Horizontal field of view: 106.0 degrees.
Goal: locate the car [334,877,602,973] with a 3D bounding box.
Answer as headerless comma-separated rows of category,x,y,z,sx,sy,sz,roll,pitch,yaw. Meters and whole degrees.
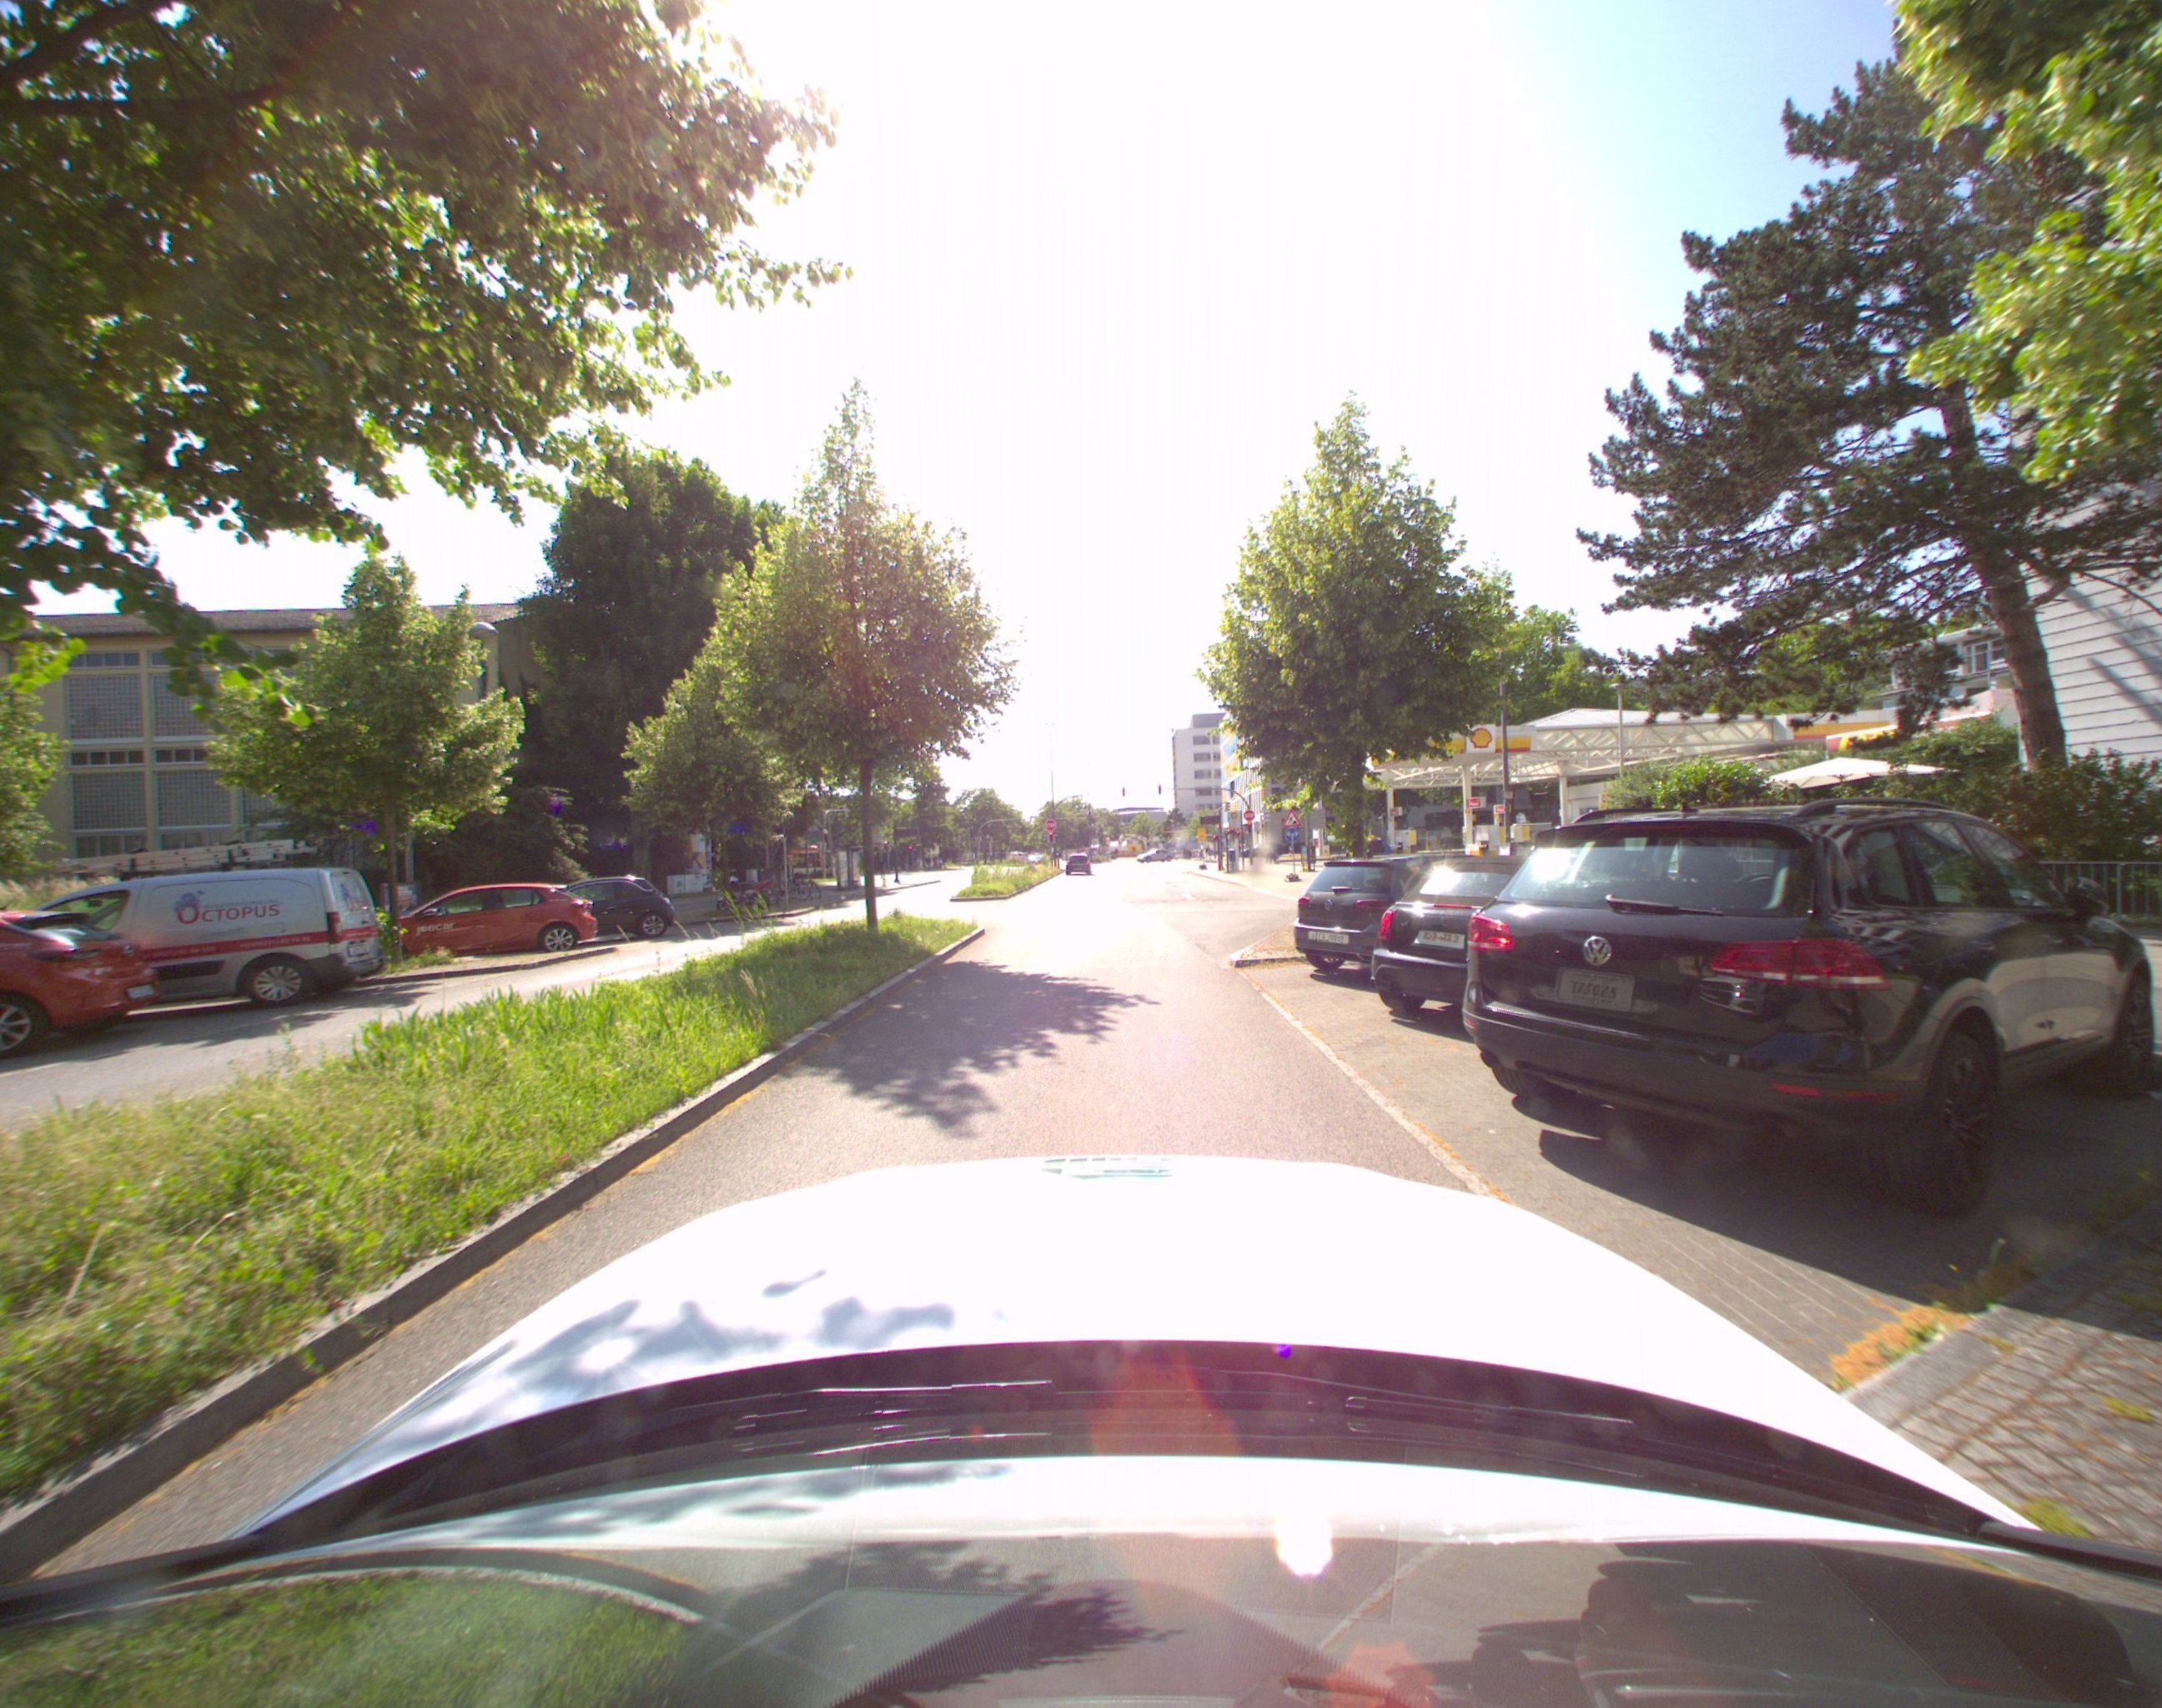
car,-11.389,1.241,15.449,3.858,1.423,1.697,-2,0,-34

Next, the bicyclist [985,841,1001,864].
bicyclist,-11.268,-0.199,104.203,1.593,2.931,2.354,-2,0,2

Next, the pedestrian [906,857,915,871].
pedestrian,-20.879,1.192,99.610,0.648,1.611,0.947,-2,0,25

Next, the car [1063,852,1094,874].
car,-0.210,0.606,56.719,1.988,1.398,3.998,-2,0,-1

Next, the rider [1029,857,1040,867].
rider,-6.389,1.073,111.716,1.387,1.196,2.697,-2,0,-1

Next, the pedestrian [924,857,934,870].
pedestrian,-18.506,1.142,99.197,0.648,1.611,0.947,-2,0,25

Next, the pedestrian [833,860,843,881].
pedestrian,-19.996,1.349,67.061,0.660,1.726,0.749,-2,0,-16

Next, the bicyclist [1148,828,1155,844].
bicyclist,12.024,-3.040,138.118,1.063,2.574,0.829,-1,0,8

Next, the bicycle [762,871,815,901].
bicycle,-11.832,1.300,32.988,1.838,1.106,0.693,-2,0,2

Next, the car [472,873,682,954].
car,-11.291,1.258,18.340,3.793,1.423,1.834,-3,-1,-39

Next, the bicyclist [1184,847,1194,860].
bicyclist,13.760,-0.097,103.622,1.232,1.673,0.526,-2,0,10

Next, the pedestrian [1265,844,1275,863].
pedestrian,15.254,-0.047,65.672,0.616,1.543,0.461,-2,0,1

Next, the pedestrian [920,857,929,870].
pedestrian,-19.201,1.130,99.955,0.648,1.611,0.947,-2,0,25

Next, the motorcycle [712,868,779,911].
motorcycle,-10.877,1.140,26.423,1.842,1.284,0.692,-2,0,-5

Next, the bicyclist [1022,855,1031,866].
bicyclist,-6.620,0.814,98.924,1.052,1.275,0.490,-2,0,-12

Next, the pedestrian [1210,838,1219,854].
pedestrian,16.839,-0.989,102.538,0.770,2.013,0.782,-2,0,30

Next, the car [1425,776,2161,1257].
car,4.354,0.494,4.724,4.759,1.660,1.737,-2,0,-29

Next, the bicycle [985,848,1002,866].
bicycle,-11.227,0.390,105.008,1.593,2.269,4.002,-2,0,2

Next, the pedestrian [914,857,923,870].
pedestrian,-19.947,1.157,99.987,0.648,1.611,0.947,-2,0,25

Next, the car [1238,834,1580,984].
car,4.286,0.569,10.534,4.131,1.530,1.980,-2,0,-31

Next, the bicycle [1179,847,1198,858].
bicycle,13.682,-0.199,103.637,2.215,1.285,0.526,-2,0,10

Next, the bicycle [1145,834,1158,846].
bicycle,11.951,-2.337,138.122,2.076,1.962,0.829,-1,0,7

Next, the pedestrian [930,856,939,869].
pedestrian,-18.125,1.035,100.587,0.660,1.611,0.947,-2,0,25

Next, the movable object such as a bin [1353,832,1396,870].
movable object such as a bin,13.143,-0.135,36.569,1.303,1.592,1.395,-5,0,-1

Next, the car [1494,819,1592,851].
car,42.468,-1.733,74.932,7.408,2.674,2.901,-2,1,-2

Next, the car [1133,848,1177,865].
car,8.103,0.266,89.268,4.385,1.639,1.992,-2,0,-13

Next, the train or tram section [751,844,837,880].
train or tram section,-29.045,0.796,82.614,7.531,3.332,3.119,-2,0,0

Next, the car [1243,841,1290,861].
car,20.789,-0.323,91.312,4.839,2.013,1.999,-2,0,-1

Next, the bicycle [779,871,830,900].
bicycle,-11.593,1.321,34.175,1.838,1.122,0.693,-2,0,2

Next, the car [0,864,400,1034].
car,-11.377,1.089,10.404,3.785,1.772,1.802,-2,0,-30

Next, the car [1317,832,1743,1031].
car,4.468,0.587,8.030,4.010,1.473,1.753,-2,0,-28

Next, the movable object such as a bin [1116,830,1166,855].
movable object such as a bin,11.739,-2.222,159.416,9.634,4.550,3.167,-2,0,3

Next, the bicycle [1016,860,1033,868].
bicycle,-6.837,1.254,98.862,2.001,0.883,0.525,-2,0,-12

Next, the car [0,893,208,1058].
car,-11.520,1.249,7.855,3.786,1.427,1.838,-3,1,-30

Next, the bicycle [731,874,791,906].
bicycle,-11.550,1.292,29.439,1.838,1.092,0.693,-2,0,2
